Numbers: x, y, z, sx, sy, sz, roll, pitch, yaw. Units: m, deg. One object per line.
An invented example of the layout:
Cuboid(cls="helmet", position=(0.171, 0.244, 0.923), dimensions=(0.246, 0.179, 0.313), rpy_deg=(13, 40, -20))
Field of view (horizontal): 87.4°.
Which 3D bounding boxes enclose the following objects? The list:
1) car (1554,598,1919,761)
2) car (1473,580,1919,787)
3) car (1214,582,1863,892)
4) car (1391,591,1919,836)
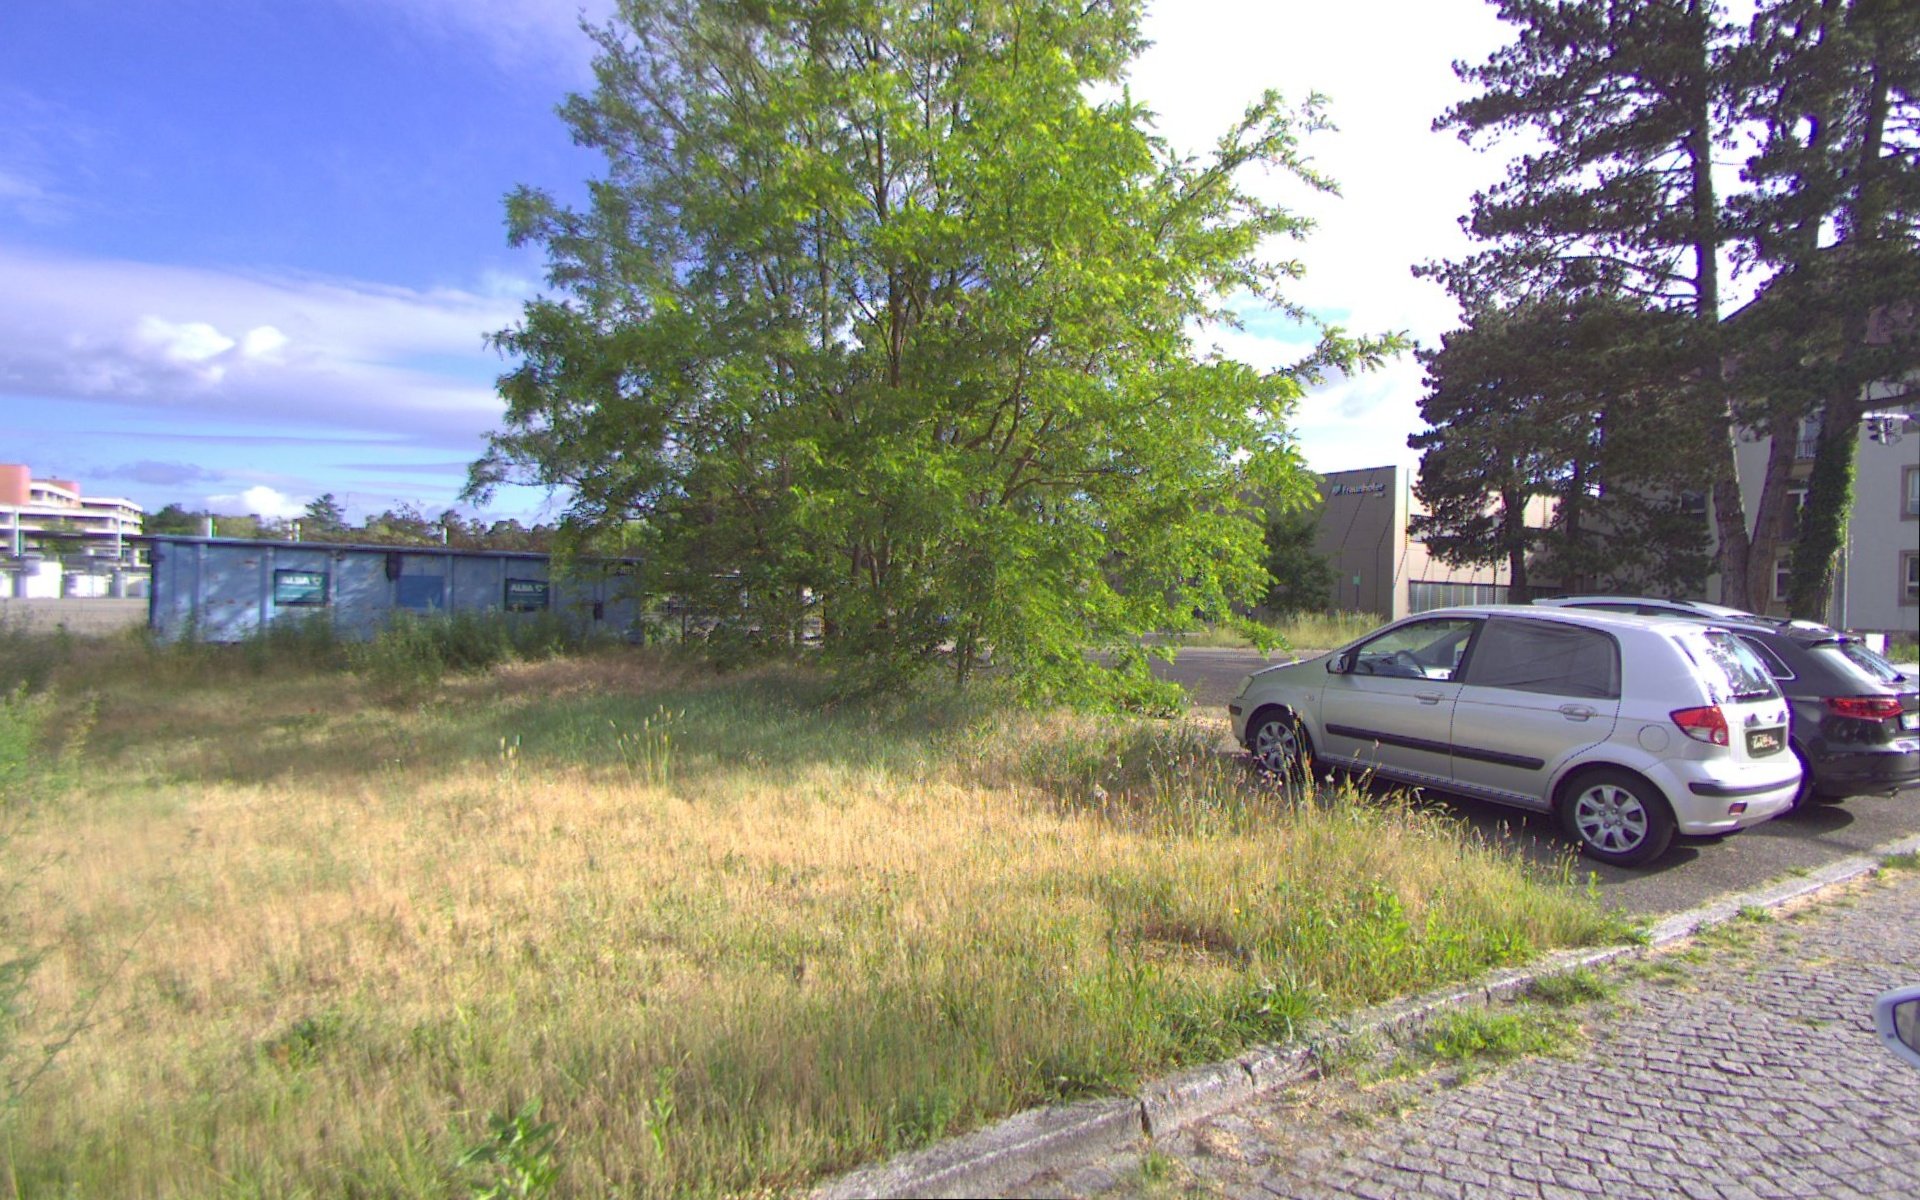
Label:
Cuboid(cls="car", position=(10.124, 0.861, 12.252), dimensions=(1.883, 1.475, 4.557), rpy_deg=(0, 4, -34))
Cuboid(cls="car", position=(8.067, 0.724, 10.800), dimensions=(1.841, 1.621, 4.091), rpy_deg=(2, 3, -36))
Cuboid(cls="car", position=(3.936, 0.735, 7.416), dimensions=(1.830, 1.493, 3.660), rpy_deg=(2, 3, -34))
Cuboid(cls="car", position=(6.118, 0.782, 8.881), dimensions=(1.839, 1.449, 3.806), rpy_deg=(2, 3, -33))
